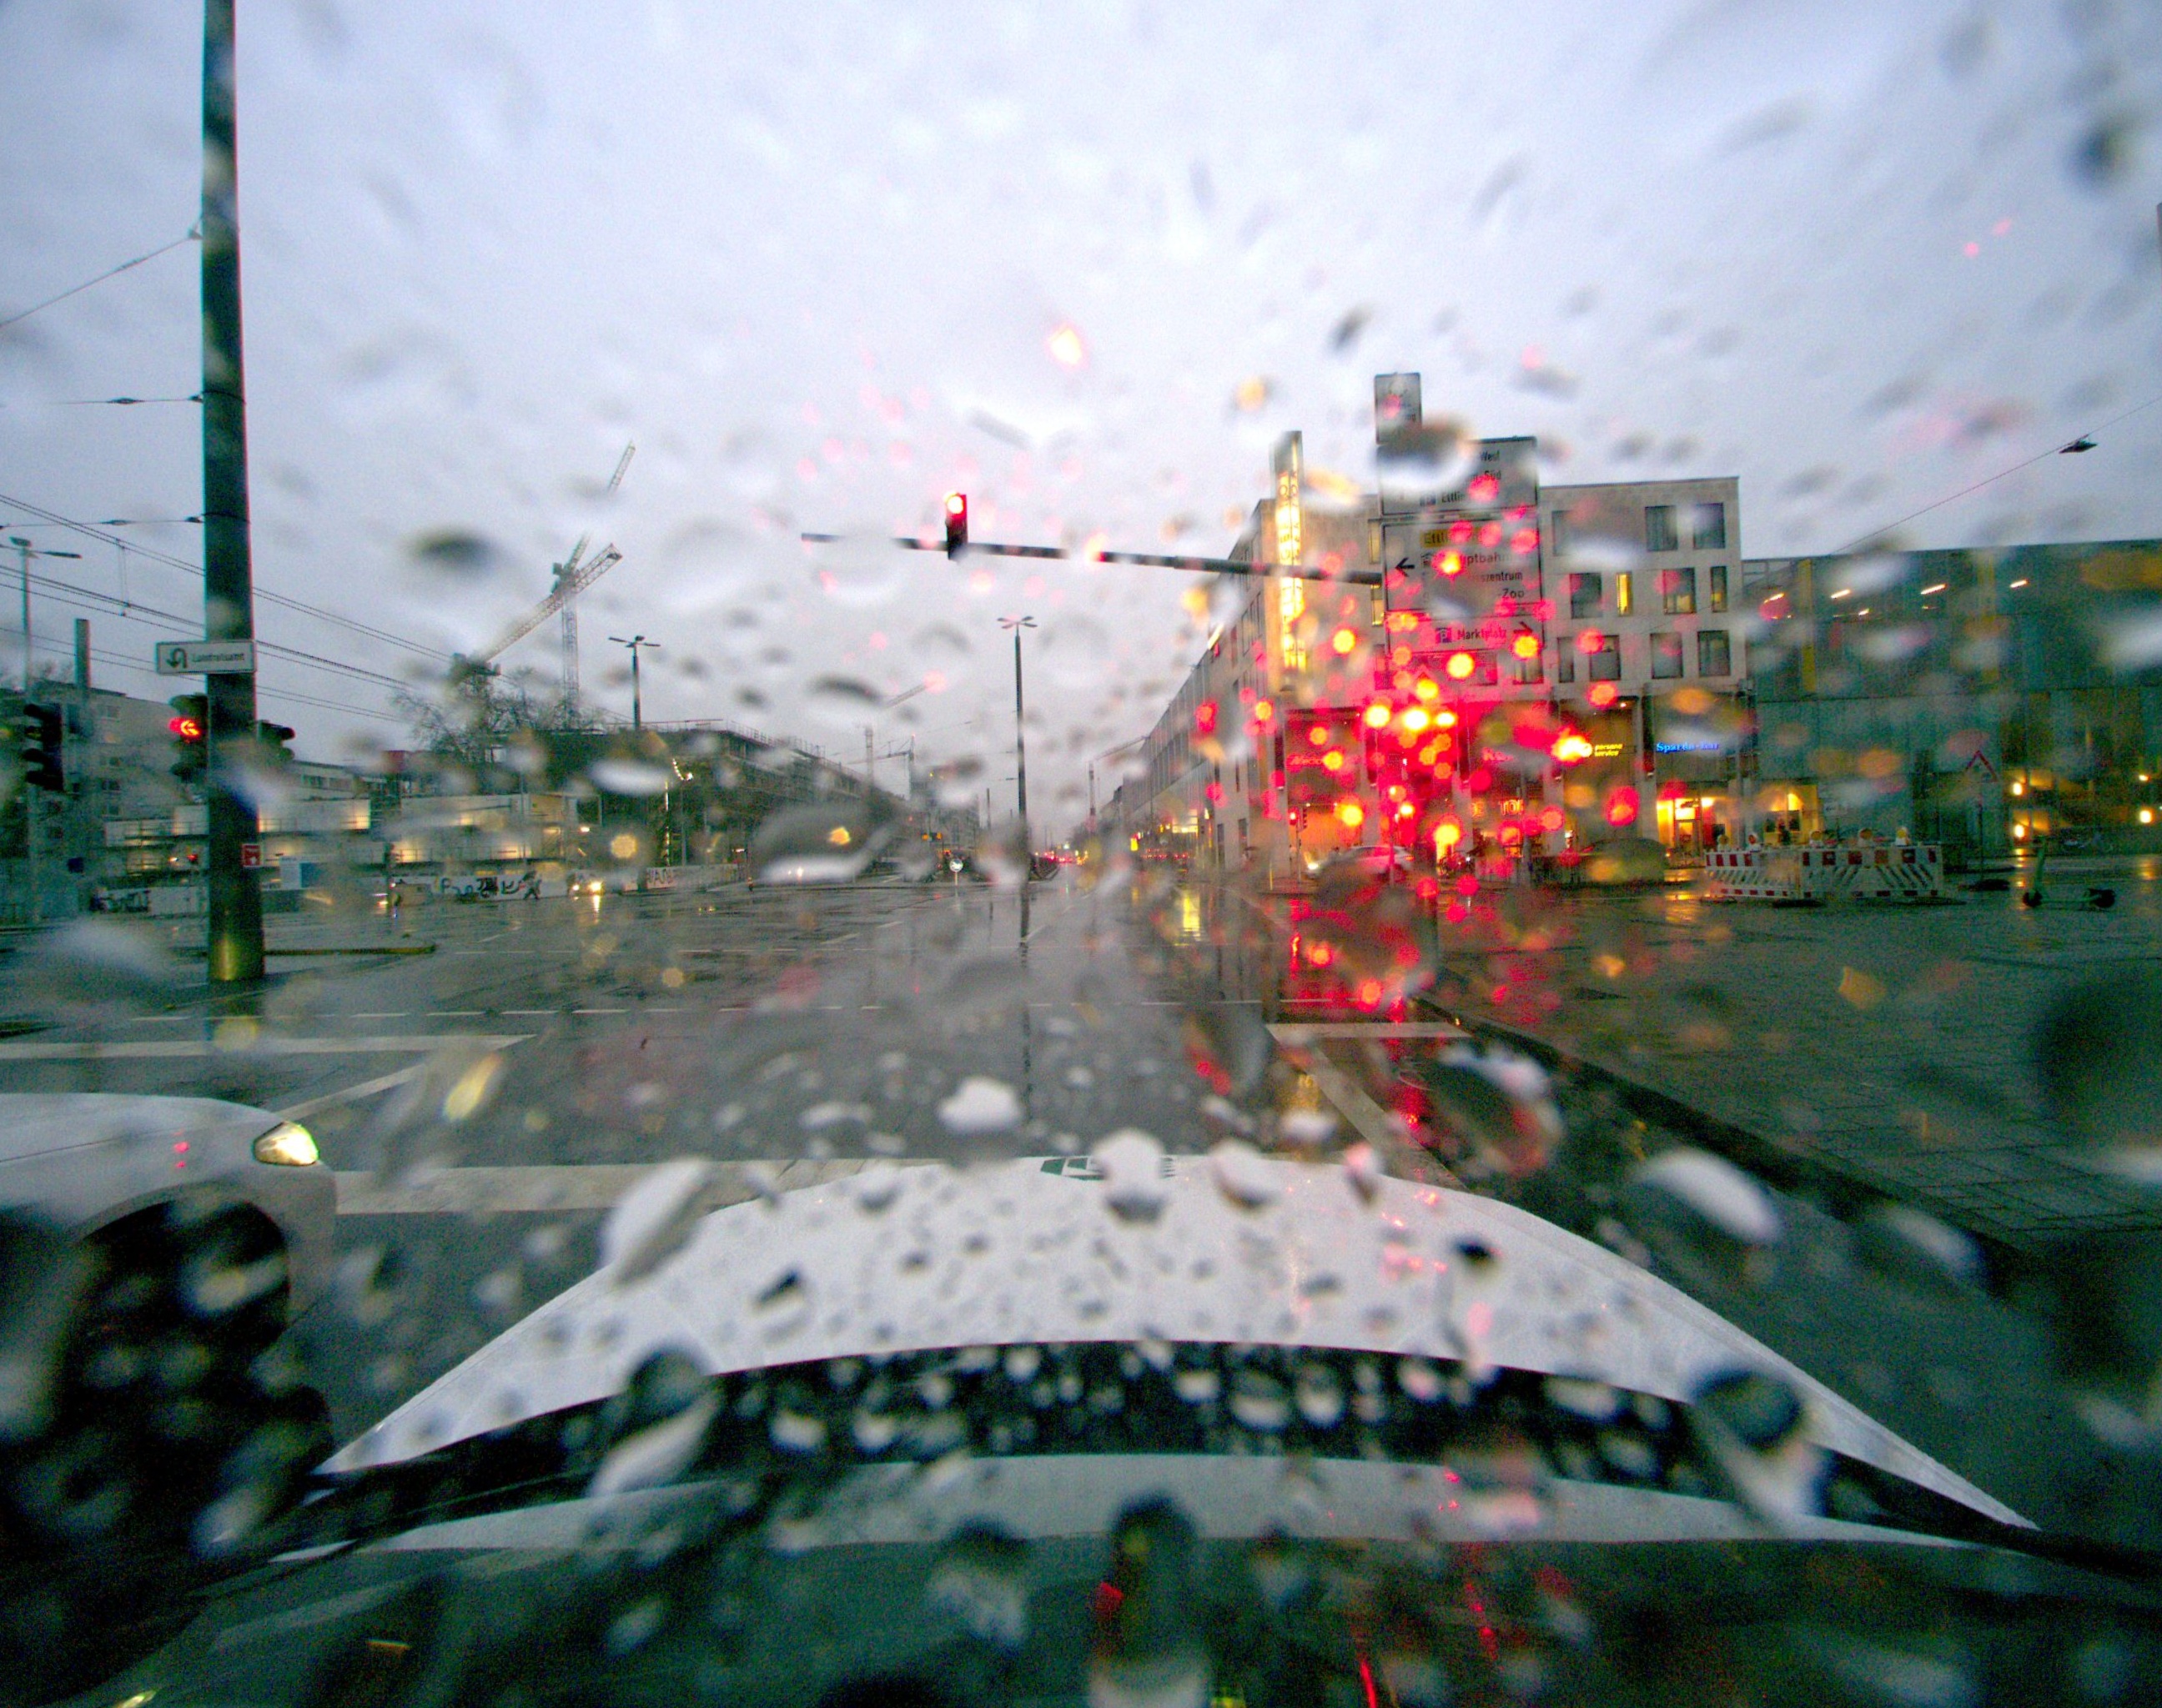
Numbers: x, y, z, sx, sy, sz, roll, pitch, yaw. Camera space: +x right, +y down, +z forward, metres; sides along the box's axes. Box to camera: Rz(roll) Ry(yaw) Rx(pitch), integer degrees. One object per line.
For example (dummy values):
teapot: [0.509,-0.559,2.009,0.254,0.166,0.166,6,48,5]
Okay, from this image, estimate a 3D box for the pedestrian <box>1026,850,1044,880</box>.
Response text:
pedestrian: [-2.708,0.653,47.692,0.838,1.688,0.679,-2,-1,9]

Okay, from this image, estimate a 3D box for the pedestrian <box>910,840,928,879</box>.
pedestrian: [-8.687,0.299,43.658,0.691,2.087,0.606,-2,-1,-39]

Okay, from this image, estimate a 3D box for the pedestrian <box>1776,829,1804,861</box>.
pedestrian: [36.064,-0.458,41.422,0.791,1.631,0.709,-1,-1,1]

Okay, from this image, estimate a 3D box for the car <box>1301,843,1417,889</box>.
car: [11.682,0.488,34.400,4.284,1.761,1.708,-2,0,3]

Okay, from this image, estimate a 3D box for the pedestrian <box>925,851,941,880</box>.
pedestrian: [-8.483,0.673,46.688,0.711,1.619,0.674,-2,-1,-31]

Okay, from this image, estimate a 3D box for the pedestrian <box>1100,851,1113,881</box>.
pedestrian: [1.529,0.712,48.232,0.700,1.760,0.652,-2,-1,1]

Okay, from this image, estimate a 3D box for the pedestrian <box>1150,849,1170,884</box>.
pedestrian: [3.687,0.590,38.100,0.812,1.570,0.536,-2,-1,-2]

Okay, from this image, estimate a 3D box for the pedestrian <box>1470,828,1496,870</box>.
pedestrian: [15.521,-0.191,31.469,0.775,1.595,0.616,-2,-1,17]

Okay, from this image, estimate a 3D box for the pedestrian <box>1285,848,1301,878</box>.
pedestrian: [12.444,0.516,47.780,0.700,1.760,0.668,-2,-1,1]

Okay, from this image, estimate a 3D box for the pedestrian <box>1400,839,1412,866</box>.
pedestrian: [20.942,-0.099,52.517,0.530,1.718,0.505,-3,-1,39]

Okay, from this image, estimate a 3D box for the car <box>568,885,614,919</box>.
car: [-33.690,3.262,56.112,1.760,2.013,3.977,-2,0,-17]

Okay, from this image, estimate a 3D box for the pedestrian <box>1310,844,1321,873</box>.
pedestrian: [14.172,0.260,49.290,0.510,1.760,0.374,-2,-1,1]

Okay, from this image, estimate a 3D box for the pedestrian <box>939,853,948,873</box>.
pedestrian: [-12.177,0.823,72.047,0.660,1.746,0.733,-2,-1,-9]

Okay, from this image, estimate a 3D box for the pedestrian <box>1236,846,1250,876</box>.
pedestrian: [9.398,0.411,47.165,0.736,1.667,0.402,-2,-1,13]

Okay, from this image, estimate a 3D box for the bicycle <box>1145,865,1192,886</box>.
bicycle: [4.088,1.002,38.042,2.123,0.991,0.541,-1,-1,-2]

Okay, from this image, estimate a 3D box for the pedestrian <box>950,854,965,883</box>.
pedestrian: [-7.072,0.826,46.627,0.704,1.619,0.613,-2,-1,-1]

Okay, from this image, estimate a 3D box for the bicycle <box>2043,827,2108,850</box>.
bicycle: [48.603,-0.745,39.843,0.613,1.033,2.138,-2,0,3]

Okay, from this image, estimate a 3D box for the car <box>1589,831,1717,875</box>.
car: [23.422,-0.028,33.434,4.037,1.582,1.676,-2,-1,-1]

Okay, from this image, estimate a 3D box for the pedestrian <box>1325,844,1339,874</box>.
pedestrian: [14.960,0.319,48.563,0.615,1.760,0.482,-2,-1,1]

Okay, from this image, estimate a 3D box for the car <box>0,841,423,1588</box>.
car: [-3.190,0.762,0.243,1.903,1.520,4.923,-2,0,0]

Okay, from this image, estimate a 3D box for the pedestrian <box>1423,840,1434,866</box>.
pedestrian: [23.799,-0.066,55.768,0.530,1.718,0.505,-3,-1,39]

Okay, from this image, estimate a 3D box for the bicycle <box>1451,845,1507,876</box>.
bicycle: [15.394,0.254,31.503,1.831,1.093,0.620,-2,-1,16]

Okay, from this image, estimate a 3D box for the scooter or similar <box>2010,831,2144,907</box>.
scooter or similar: [15.809,0.229,12.965,0.603,1.130,1.236,-2,0,2]

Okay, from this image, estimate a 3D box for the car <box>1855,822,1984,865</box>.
car: [34.559,-0.405,33.624,3.558,1.582,1.676,-2,-1,-1]

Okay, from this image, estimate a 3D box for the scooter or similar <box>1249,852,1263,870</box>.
scooter or similar: [10.106,0.402,46.990,0.736,0.993,0.402,-2,-1,13]

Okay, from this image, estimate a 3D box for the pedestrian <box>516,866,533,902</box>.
pedestrian: [-31.438,1.711,45.998,0.507,2.014,0.638,-3,-2,-9]

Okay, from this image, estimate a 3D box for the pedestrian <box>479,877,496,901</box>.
pedestrian: [-39.468,2.330,54.195,0.798,1.529,0.640,-2,-1,-28]

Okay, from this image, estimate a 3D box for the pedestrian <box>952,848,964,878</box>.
pedestrian: [-7.279,0.552,48.170,0.617,1.746,0.612,-2,-1,-4]

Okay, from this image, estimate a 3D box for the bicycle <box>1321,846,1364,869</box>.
bicycle: [16.161,0.238,50.398,2.420,1.329,0.634,-2,0,-4]

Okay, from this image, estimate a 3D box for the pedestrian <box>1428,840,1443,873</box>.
pedestrian: [18.159,0.128,41.730,0.530,1.685,0.552,-3,-1,39]

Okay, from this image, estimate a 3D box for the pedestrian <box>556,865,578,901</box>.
pedestrian: [-29.659,1.644,46.985,0.792,2.013,0.745,-2,-1,-9]

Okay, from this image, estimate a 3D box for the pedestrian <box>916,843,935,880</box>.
pedestrian: [-8.506,0.401,44.530,0.781,2.013,0.606,-2,-1,-37]

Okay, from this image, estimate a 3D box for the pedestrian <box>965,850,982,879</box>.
pedestrian: [-6.163,0.588,46.806,0.806,1.607,0.746,-2,-1,1]
